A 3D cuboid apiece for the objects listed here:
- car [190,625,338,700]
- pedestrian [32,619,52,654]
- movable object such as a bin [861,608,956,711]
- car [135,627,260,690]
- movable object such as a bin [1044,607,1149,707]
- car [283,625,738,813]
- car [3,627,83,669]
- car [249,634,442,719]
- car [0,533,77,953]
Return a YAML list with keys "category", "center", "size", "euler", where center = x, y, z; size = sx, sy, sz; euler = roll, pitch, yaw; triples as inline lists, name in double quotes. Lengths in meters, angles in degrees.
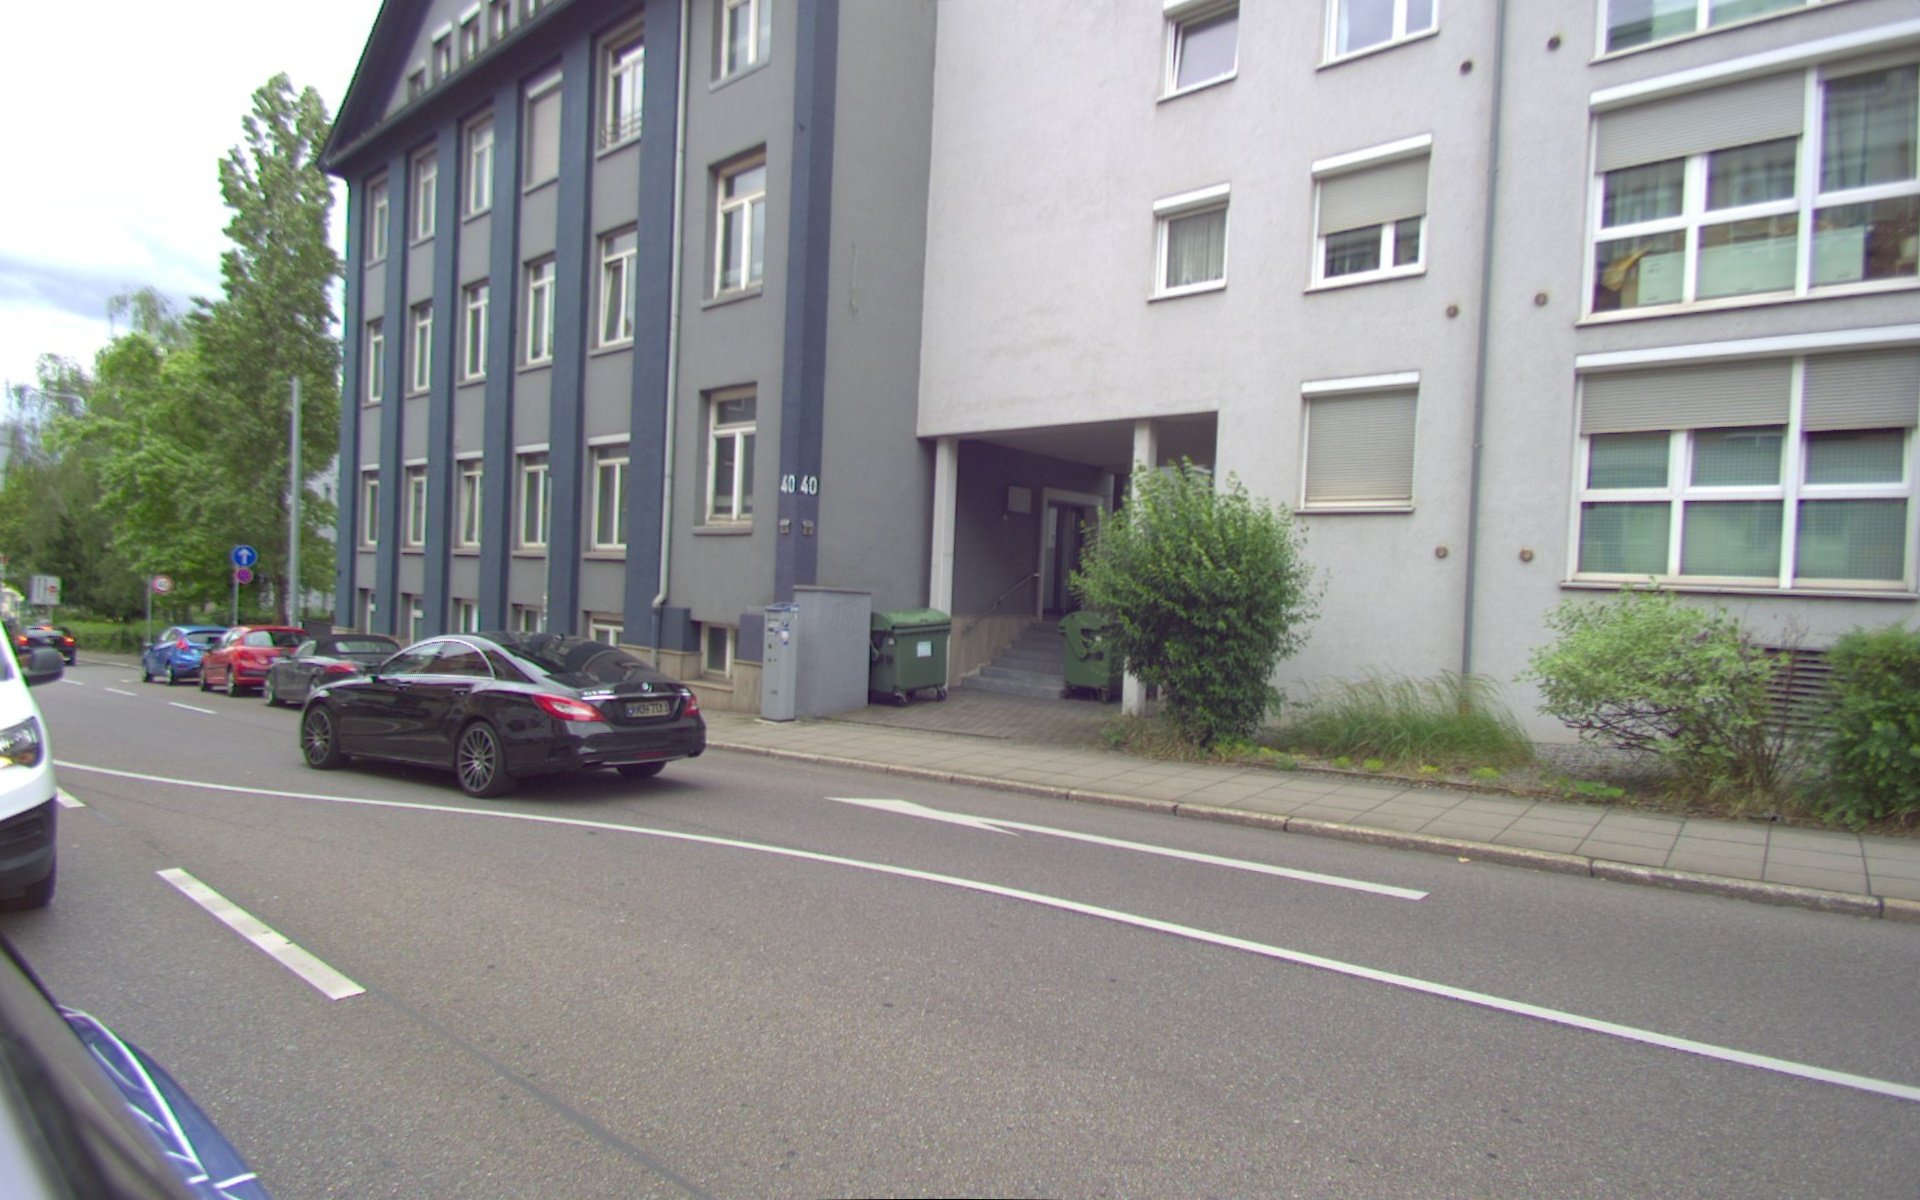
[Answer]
- category: "car"
  center: [-15.281, 1.338, 22.150]
  size: [3.868, 1.485, 1.796]
  euler: [-2, -4, 42]
- category: "pedestrian"
  center: [-49.747, 1.960, 54.848]
  size: [0.776, 1.864, 0.736]
  euler: [-2, -1, 42]
- category: "movable object such as a bin"
  center: [-0.793, 0.882, 15.677]
  size: [0.784, 1.467, 1.251]
  euler: [0, 1, 44]
- category: "car"
  center: [-19.409, 1.447, 25.725]
  size: [3.724, 1.465, 1.702]
  euler: [-1, -3, 40]
- category: "movable object such as a bin"
  center: [2.245, 0.911, 16.646]
  size: [1.190, 1.489, 1.132]
  euler: [5, 2, 41]
- category: "car"
  center: [-4.486, 0.999, 9.854]
  size: [4.656, 1.429, 1.771]
  euler: [-1, -4, 33]
- category: "car"
  center: [-33.077, 1.709, 36.480]
  size: [3.793, 1.411, 1.655]
  euler: [-1, -4, 41]
- category: "car"
  center: [-11.043, 1.317, 18.085]
  size: [4.038, 1.337, 1.702]
  euler: [-1, -4, 40]
- category: "car"
  center: [-6.447, 0.670, 5.538]
  size: [4.937, 1.821, 1.816]
  euler: [-1, 0, 42]
